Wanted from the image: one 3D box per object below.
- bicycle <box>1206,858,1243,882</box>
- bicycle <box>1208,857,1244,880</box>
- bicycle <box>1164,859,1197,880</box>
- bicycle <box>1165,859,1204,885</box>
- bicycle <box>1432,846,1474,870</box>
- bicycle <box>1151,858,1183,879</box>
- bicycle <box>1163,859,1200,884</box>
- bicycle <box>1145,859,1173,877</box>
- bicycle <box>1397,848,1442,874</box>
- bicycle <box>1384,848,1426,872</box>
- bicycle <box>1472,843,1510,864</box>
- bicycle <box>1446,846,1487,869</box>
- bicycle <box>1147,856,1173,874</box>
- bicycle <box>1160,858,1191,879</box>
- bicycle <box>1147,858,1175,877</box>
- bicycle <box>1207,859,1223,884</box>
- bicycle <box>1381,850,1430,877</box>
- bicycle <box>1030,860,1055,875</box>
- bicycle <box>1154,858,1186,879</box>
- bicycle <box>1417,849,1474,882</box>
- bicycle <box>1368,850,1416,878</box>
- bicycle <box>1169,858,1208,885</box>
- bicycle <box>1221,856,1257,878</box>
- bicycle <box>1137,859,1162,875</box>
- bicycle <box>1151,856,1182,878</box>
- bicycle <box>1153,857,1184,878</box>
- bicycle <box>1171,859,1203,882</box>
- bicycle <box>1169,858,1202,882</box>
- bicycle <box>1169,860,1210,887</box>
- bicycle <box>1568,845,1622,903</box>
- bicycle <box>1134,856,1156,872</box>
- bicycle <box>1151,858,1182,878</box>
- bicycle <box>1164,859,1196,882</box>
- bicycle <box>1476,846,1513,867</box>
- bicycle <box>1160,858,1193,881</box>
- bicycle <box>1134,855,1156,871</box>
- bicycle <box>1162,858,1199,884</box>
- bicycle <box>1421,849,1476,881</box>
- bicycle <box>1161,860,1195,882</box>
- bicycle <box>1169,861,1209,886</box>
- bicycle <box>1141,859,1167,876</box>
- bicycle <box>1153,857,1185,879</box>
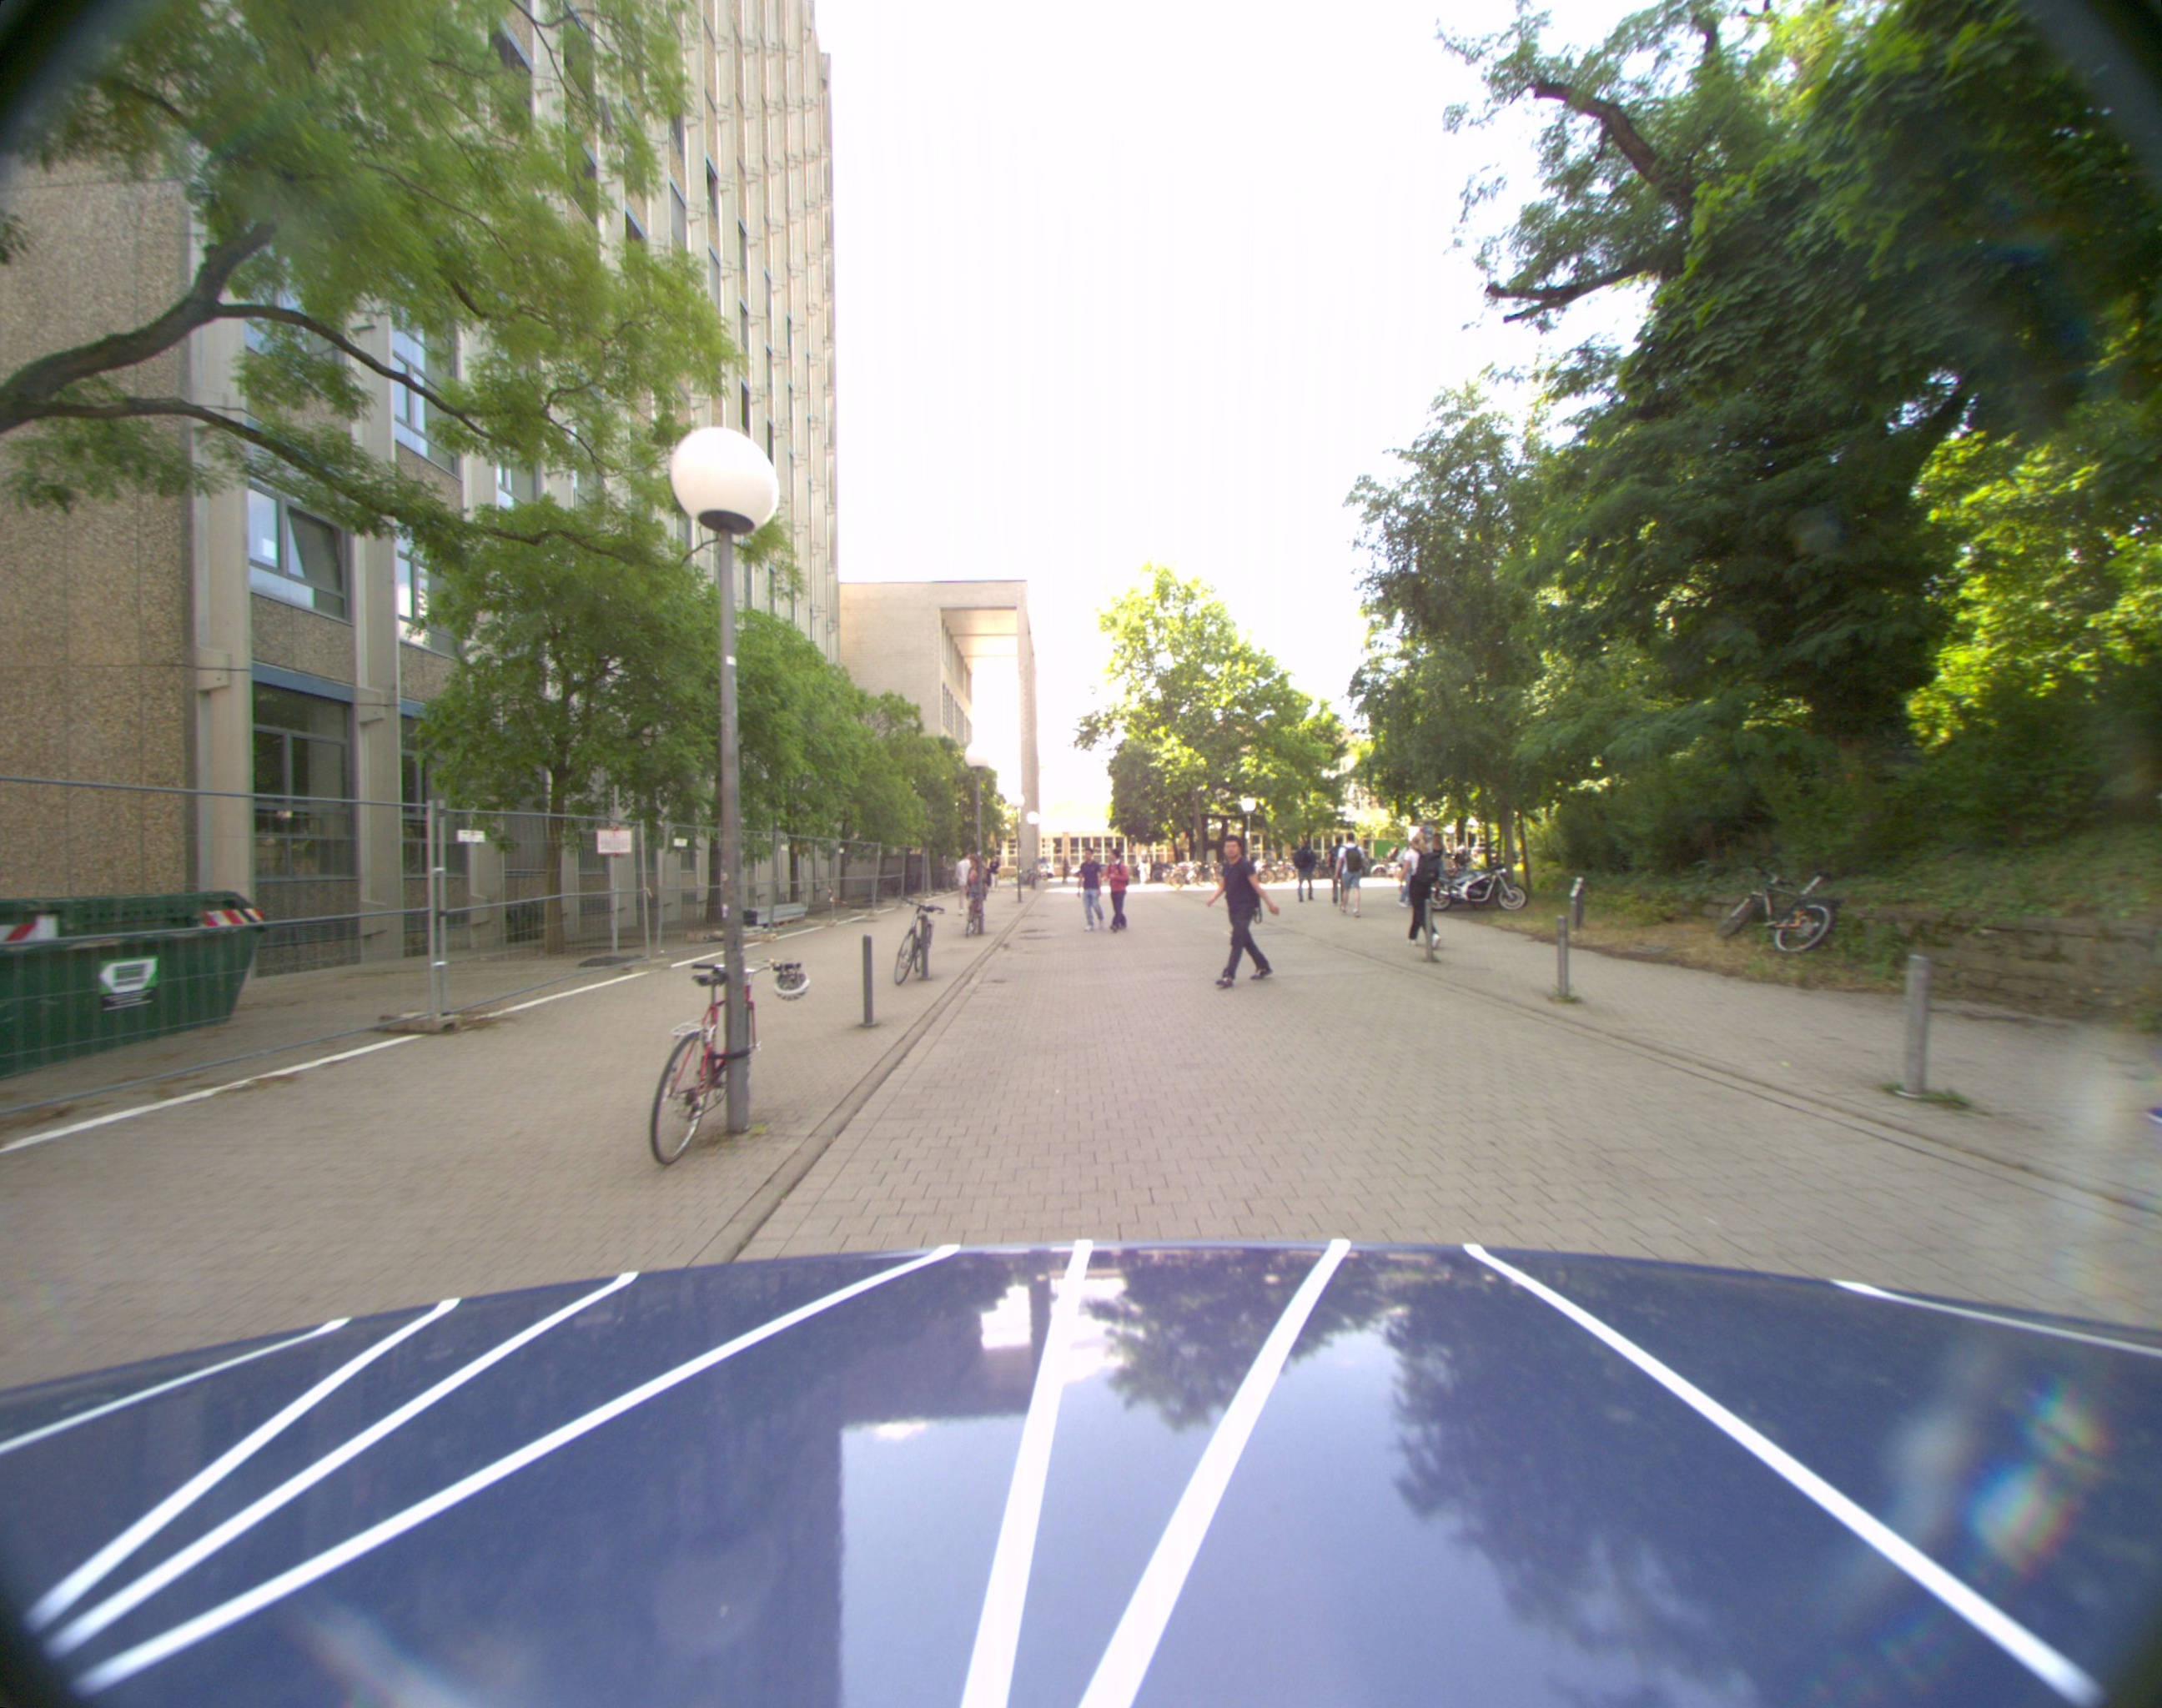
[{"bbox_3d":[6.920,0.778,36.524,1.697,1.077,0.474,-2,1,12],"label":"bicycle"},{"bbox_3d":[7.194,0.717,37.600,1.697,1.077,0.474,-2,1,13],"label":"bicycle"},{"bbox_3d":[5.488,0.844,41.903,1.700,1.101,0.565,-3,1,-12],"label":"bicycle"},{"bbox_3d":[4.965,0.855,36.320,1.778,1.161,0.474,-2,1,12],"label":"bicycle"},{"bbox_3d":[18.439,0.209,37.711,1.773,1.104,0.518,-2,1,41],"label":"bicycle"},{"bbox_3d":[5.001,0.814,44.157,1.700,1.139,0.473,-3,1,-12],"label":"bicycle"},{"bbox_3d":[4.898,0.844,37.030,1.700,1.161,0.473,-3,1,-13],"label":"bicycle"},{"bbox_3d":[5.069,0.892,49.412,1.737,1.101,0.575,-2,1,18],"label":"bicycle"},{"bbox_3d":[15.126,0.339,33.974,1.773,1.104,0.475,-2,1,38],"label":"bicycle"},{"bbox_3d":[16.096,0.315,37.785,1.840,1.104,0.475,-2,1,27],"label":"bicycle"},{"bbox_3d":[22.846,-0.018,42.318,1.773,1.104,0.518,-2,1,41],"label":"bicycle"},{"bbox_3d":[19.481,0.174,38.426,1.773,1.104,0.518,-2,1,41],"label":"bicycle"},{"bbox_3d":[5.195,0.745,50.065,1.627,1.137,0.497,-2,1,13],"label":"bicycle"},{"bbox_3d":[5.386,0.834,43.331,1.700,1.101,0.473,-3,1,-12],"label":"bicycle"},{"bbox_3d":[5.112,0.846,48.539,1.739,1.101,0.497,-2,1,-1],"label":"bicycle"},{"bbox_3d":[6.235,0.801,35.400,0.508,1.077,1.700,-2,0,3],"label":"bicycle"},{"bbox_3d":[13.680,0.421,32.060,1.773,1.104,0.475,-2,1,43],"label":"bicycle"},{"bbox_3d":[-3.014,1.042,59.265,1.886,1.157,0.605,0,-1,-6],"label":"bicycle"},{"bbox_3d":[5.109,0.823,43.700,1.700,1.101,0.473,-3,1,-12],"label":"bicycle"},{"bbox_3d":[12.940,0.409,26.993,1.773,1.104,0.475,-2,1,28],"label":"bicycle"},{"bbox_3d":[12.823,0.427,31.351,1.773,1.104,0.475,-2,1,43],"label":"bicycle"},{"bbox_3d":[4.998,0.826,35.468,1.699,1.161,0.474,-2,1,-7],"label":"bicycle"},{"bbox_3d":[7.946,0.651,38.272,1.695,1.077,0.475,-2,1,35],"label":"bicycle"},{"bbox_3d":[4.932,0.927,54.806,1.629,1.101,0.644,-2,1,-6],"label":"bicycle"},{"bbox_3d":[5.072,0.773,45.161,1.740,1.228,0.496,-2,1,-8],"label":"bicycle"},{"bbox_3d":[5.263,0.804,45.725,1.739,1.172,0.497,-2,1,-1],"label":"bicycle"},{"bbox_3d":[5.389,0.832,38.472,1.702,1.055,0.473,-3,1,-35],"label":"bicycle"},{"bbox_3d":[5.447,0.810,39.677,1.702,1.151,0.473,-3,1,-28],"label":"bicycle"},{"bbox_3d":[4.896,0.863,34.237,1.699,1.152,0.474,-3,1,-9],"label":"bicycle"},{"bbox_3d":[10.349,0.381,15.348,0.473,1.041,1.702,-4,1,21],"label":"bicycle"},{"bbox_3d":[4.784,0.750,57.075,1.628,1.101,0.497,-2,1,4],"label":"bicycle"},{"bbox_3d":[5.012,0.825,44.682,1.700,1.101,0.496,-3,1,-11],"label":"bicycle"},{"bbox_3d":[5.229,0.858,40.088,1.702,1.101,0.473,-3,1,-28],"label":"bicycle"},{"bbox_3d":[23.350,0.132,42.911,1.773,1.104,0.518,-2,1,41],"label":"bicycle"},{"bbox_3d":[5.204,0.818,41.347,1.700,1.181,0.473,-3,1,-12],"label":"bicycle"},{"bbox_3d":[4.750,0.689,56.353,1.628,1.101,0.691,-2,1,4],"label":"bicycle"},{"bbox_3d":[4.919,0.831,37.572,1.701,1.161,0.473,-3,1,-17],"label":"bicycle"},{"bbox_3d":[13.489,0.421,27.922,1.773,1.104,0.475,-2,1,28],"label":"bicycle"},{"bbox_3d":[5.222,0.884,40.819,1.700,1.101,0.582,-3,1,-12],"label":"bicycle"},{"bbox_3d":[4.916,0.886,34.707,1.699,1.085,0.474,-2,1,-7],"label":"bicycle"},{"bbox_3d":[5.087,0.926,52.718,1.724,1.101,0.719,-2,1,10],"label":"bicycle"},{"bbox_3d":[4.942,0.789,42.725,1.699,1.191,0.536,-3,1,-9],"label":"bicycle"}]
